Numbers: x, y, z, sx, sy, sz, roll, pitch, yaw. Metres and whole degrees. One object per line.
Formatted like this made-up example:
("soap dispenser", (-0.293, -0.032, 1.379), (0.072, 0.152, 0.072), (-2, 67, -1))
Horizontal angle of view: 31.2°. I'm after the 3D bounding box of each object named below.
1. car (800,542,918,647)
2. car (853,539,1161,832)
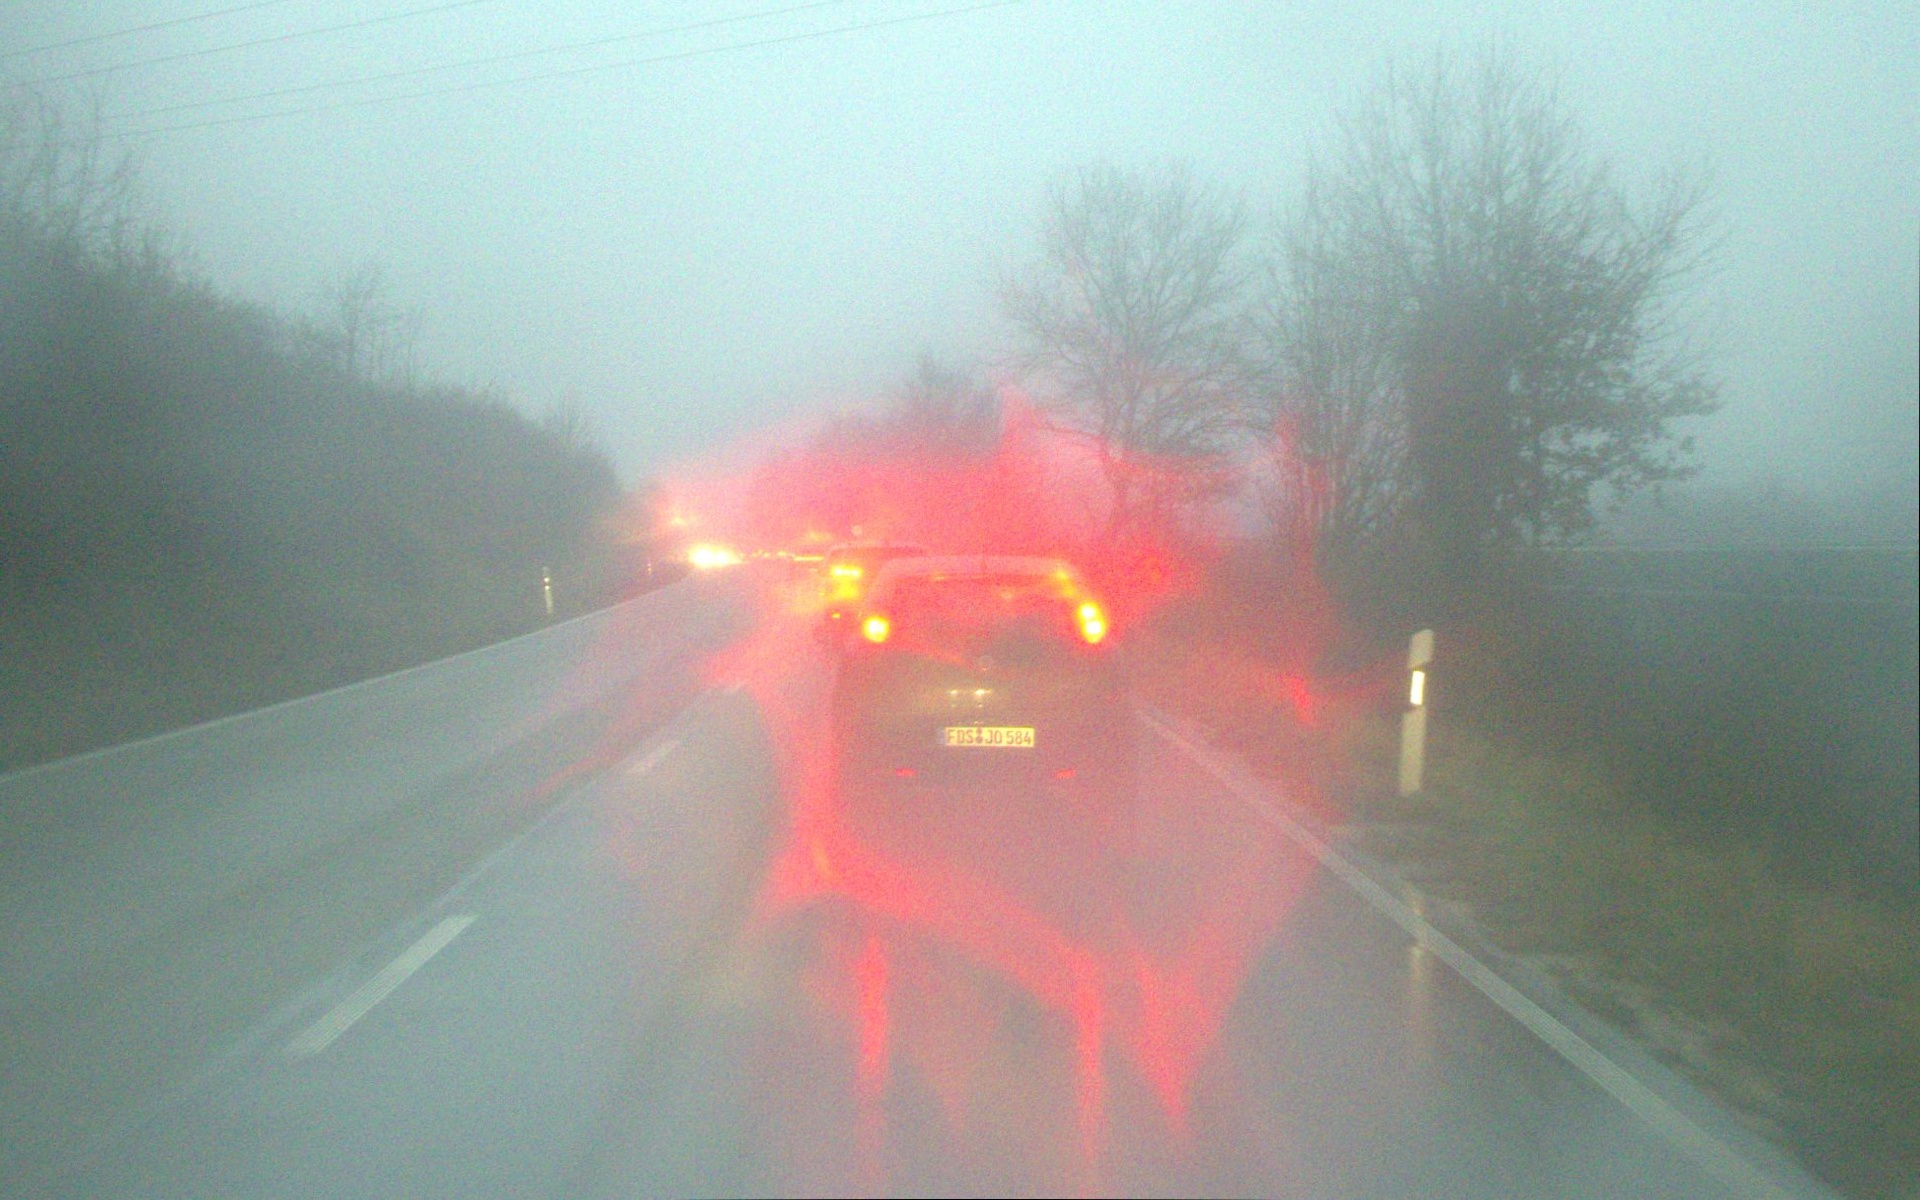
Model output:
("car", (-1.390, -0.107, 48.339), (1.547, 1.392, 3.870), (1, 1, 0))
("car", (0.262, 0.416, 20.010), (1.602, 1.517, 3.869), (1, 1, 0))
